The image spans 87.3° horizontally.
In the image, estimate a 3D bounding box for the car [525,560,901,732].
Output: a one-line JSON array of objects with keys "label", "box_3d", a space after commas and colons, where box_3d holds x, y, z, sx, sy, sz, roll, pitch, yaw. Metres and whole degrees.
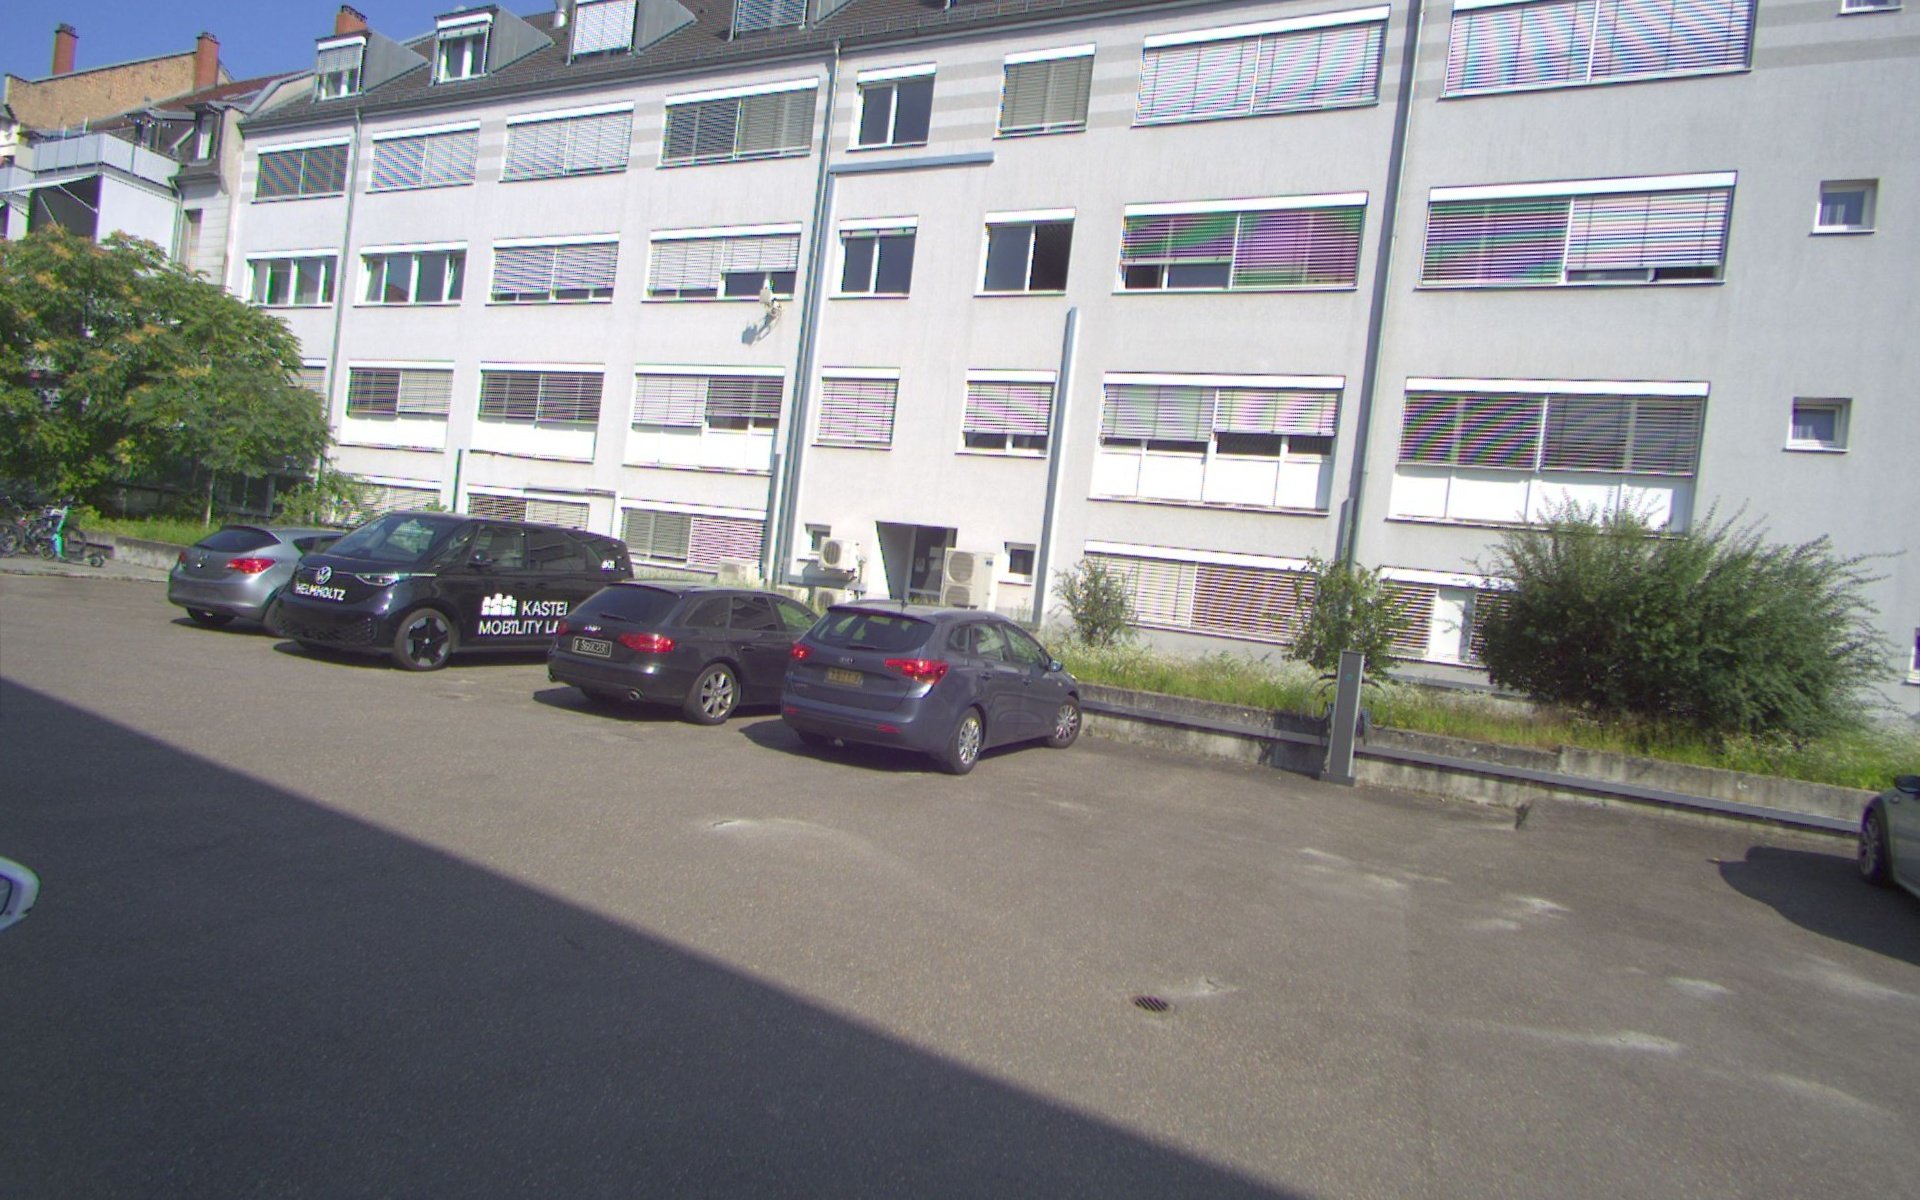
[{"label": "car", "box_3d": [-2.578, 0.539, 11.596, 1.661, 1.455, 4.239, 8, 0, 29]}]

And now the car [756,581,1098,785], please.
[{"label": "car", "box_3d": [-0.097, 0.782, 10.433, 1.711, 1.496, 4.055, 8, 0, 26]}]

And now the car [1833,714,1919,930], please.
[{"label": "car", "box_3d": [7.700, 1.718, 6.917, 1.630, 1.455, 3.576, 8, 0, 28]}]

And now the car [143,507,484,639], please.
[{"label": "car", "box_3d": [-9.074, -0.292, 14.535, 1.631, 1.484, 3.909, 7, 0, 17]}]

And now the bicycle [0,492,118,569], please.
[{"label": "bicycle", "box_3d": [-18.149, -1.395, 19.692, 0.517, 1.261, 2.415, 7, -1, 30]}]

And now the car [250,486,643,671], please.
[{"label": "car", "box_3d": [-6.470, -0.175, 13.306, 1.879, 1.882, 4.347, 7, 0, 21]}]

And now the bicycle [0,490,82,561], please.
[{"label": "bicycle", "box_3d": [-19.413, -1.582, 20.307, 0.517, 1.261, 2.415, 7, -1, 30]}]

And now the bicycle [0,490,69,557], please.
[{"label": "bicycle", "box_3d": [-19.991, -1.664, 20.653, 0.517, 1.261, 2.415, 7, -1, 30]}]

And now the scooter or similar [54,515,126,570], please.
[{"label": "scooter or similar", "box_3d": [-17.413, -1.148, 20.147, 0.982, 0.935, 0.360, 7, 0, -7]}]

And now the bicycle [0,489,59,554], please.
[{"label": "bicycle", "box_3d": [-20.502, -1.745, 20.991, 0.517, 1.261, 2.415, 7, -1, 30]}]

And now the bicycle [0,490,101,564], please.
[{"label": "bicycle", "box_3d": [-18.755, -1.507, 19.997, 0.517, 1.261, 2.415, 7, -1, 30]}]
